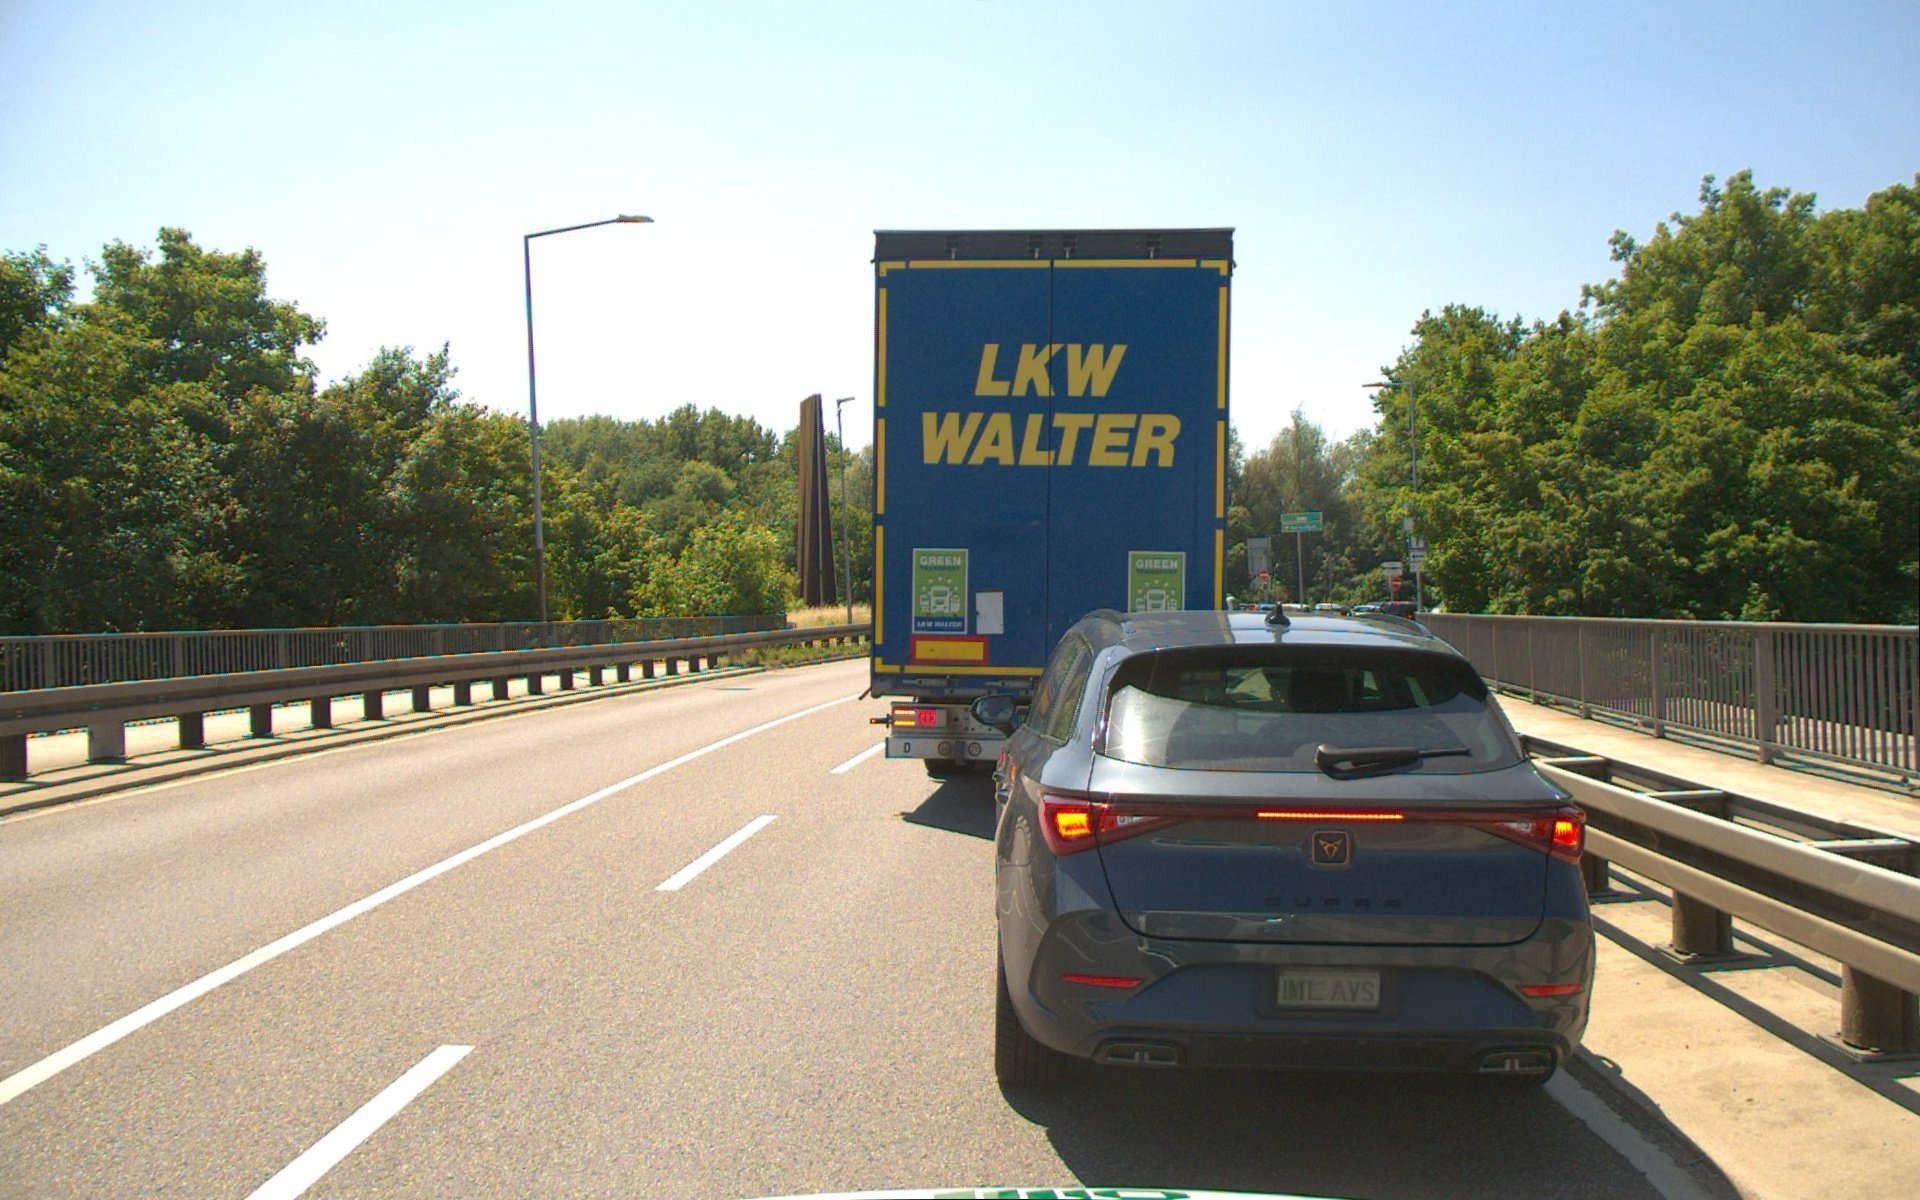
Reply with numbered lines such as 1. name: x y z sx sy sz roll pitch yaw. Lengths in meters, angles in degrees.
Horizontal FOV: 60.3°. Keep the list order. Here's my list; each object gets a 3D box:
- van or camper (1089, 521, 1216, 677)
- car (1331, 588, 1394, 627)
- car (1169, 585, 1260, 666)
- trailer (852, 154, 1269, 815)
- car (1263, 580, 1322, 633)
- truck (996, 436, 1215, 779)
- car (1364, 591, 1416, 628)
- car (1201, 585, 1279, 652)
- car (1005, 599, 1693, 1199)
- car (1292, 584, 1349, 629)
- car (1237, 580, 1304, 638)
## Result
1. van or camper: 4.028 -0.038 33.677 2.108 2.865 6.393 0 0 11
2. car: 18.202 0.351 74.669 1.954 1.603 3.996 2 -1 26
3. car: 6.364 0.581 41.086 1.684 1.876 4.002 0 1 17
4. trailer: 1.412 -0.822 17.594 2.843 4.496 12.442 0 0 7
5. car: 12.422 0.220 61.690 1.685 1.876 4.002 0 0 18
6. truck: 2.307 0.075 25.084 2.843 4.496 6.560 0 0 7
7. car: 21.000 0.477 80.679 1.653 1.791 3.995 0 -1 28
8. car: 8.068 0.480 47.430 1.684 1.834 4.002 0 0 17
9. car: 0.984 0.740 5.947 1.642 1.481 3.959 0 0 1
10. car: 14.929 0.291 68.380 1.651 1.791 3.999 0 -1 22
11. car: 10.454 0.263 55.526 1.685 1.876 4.002 0 0 18
